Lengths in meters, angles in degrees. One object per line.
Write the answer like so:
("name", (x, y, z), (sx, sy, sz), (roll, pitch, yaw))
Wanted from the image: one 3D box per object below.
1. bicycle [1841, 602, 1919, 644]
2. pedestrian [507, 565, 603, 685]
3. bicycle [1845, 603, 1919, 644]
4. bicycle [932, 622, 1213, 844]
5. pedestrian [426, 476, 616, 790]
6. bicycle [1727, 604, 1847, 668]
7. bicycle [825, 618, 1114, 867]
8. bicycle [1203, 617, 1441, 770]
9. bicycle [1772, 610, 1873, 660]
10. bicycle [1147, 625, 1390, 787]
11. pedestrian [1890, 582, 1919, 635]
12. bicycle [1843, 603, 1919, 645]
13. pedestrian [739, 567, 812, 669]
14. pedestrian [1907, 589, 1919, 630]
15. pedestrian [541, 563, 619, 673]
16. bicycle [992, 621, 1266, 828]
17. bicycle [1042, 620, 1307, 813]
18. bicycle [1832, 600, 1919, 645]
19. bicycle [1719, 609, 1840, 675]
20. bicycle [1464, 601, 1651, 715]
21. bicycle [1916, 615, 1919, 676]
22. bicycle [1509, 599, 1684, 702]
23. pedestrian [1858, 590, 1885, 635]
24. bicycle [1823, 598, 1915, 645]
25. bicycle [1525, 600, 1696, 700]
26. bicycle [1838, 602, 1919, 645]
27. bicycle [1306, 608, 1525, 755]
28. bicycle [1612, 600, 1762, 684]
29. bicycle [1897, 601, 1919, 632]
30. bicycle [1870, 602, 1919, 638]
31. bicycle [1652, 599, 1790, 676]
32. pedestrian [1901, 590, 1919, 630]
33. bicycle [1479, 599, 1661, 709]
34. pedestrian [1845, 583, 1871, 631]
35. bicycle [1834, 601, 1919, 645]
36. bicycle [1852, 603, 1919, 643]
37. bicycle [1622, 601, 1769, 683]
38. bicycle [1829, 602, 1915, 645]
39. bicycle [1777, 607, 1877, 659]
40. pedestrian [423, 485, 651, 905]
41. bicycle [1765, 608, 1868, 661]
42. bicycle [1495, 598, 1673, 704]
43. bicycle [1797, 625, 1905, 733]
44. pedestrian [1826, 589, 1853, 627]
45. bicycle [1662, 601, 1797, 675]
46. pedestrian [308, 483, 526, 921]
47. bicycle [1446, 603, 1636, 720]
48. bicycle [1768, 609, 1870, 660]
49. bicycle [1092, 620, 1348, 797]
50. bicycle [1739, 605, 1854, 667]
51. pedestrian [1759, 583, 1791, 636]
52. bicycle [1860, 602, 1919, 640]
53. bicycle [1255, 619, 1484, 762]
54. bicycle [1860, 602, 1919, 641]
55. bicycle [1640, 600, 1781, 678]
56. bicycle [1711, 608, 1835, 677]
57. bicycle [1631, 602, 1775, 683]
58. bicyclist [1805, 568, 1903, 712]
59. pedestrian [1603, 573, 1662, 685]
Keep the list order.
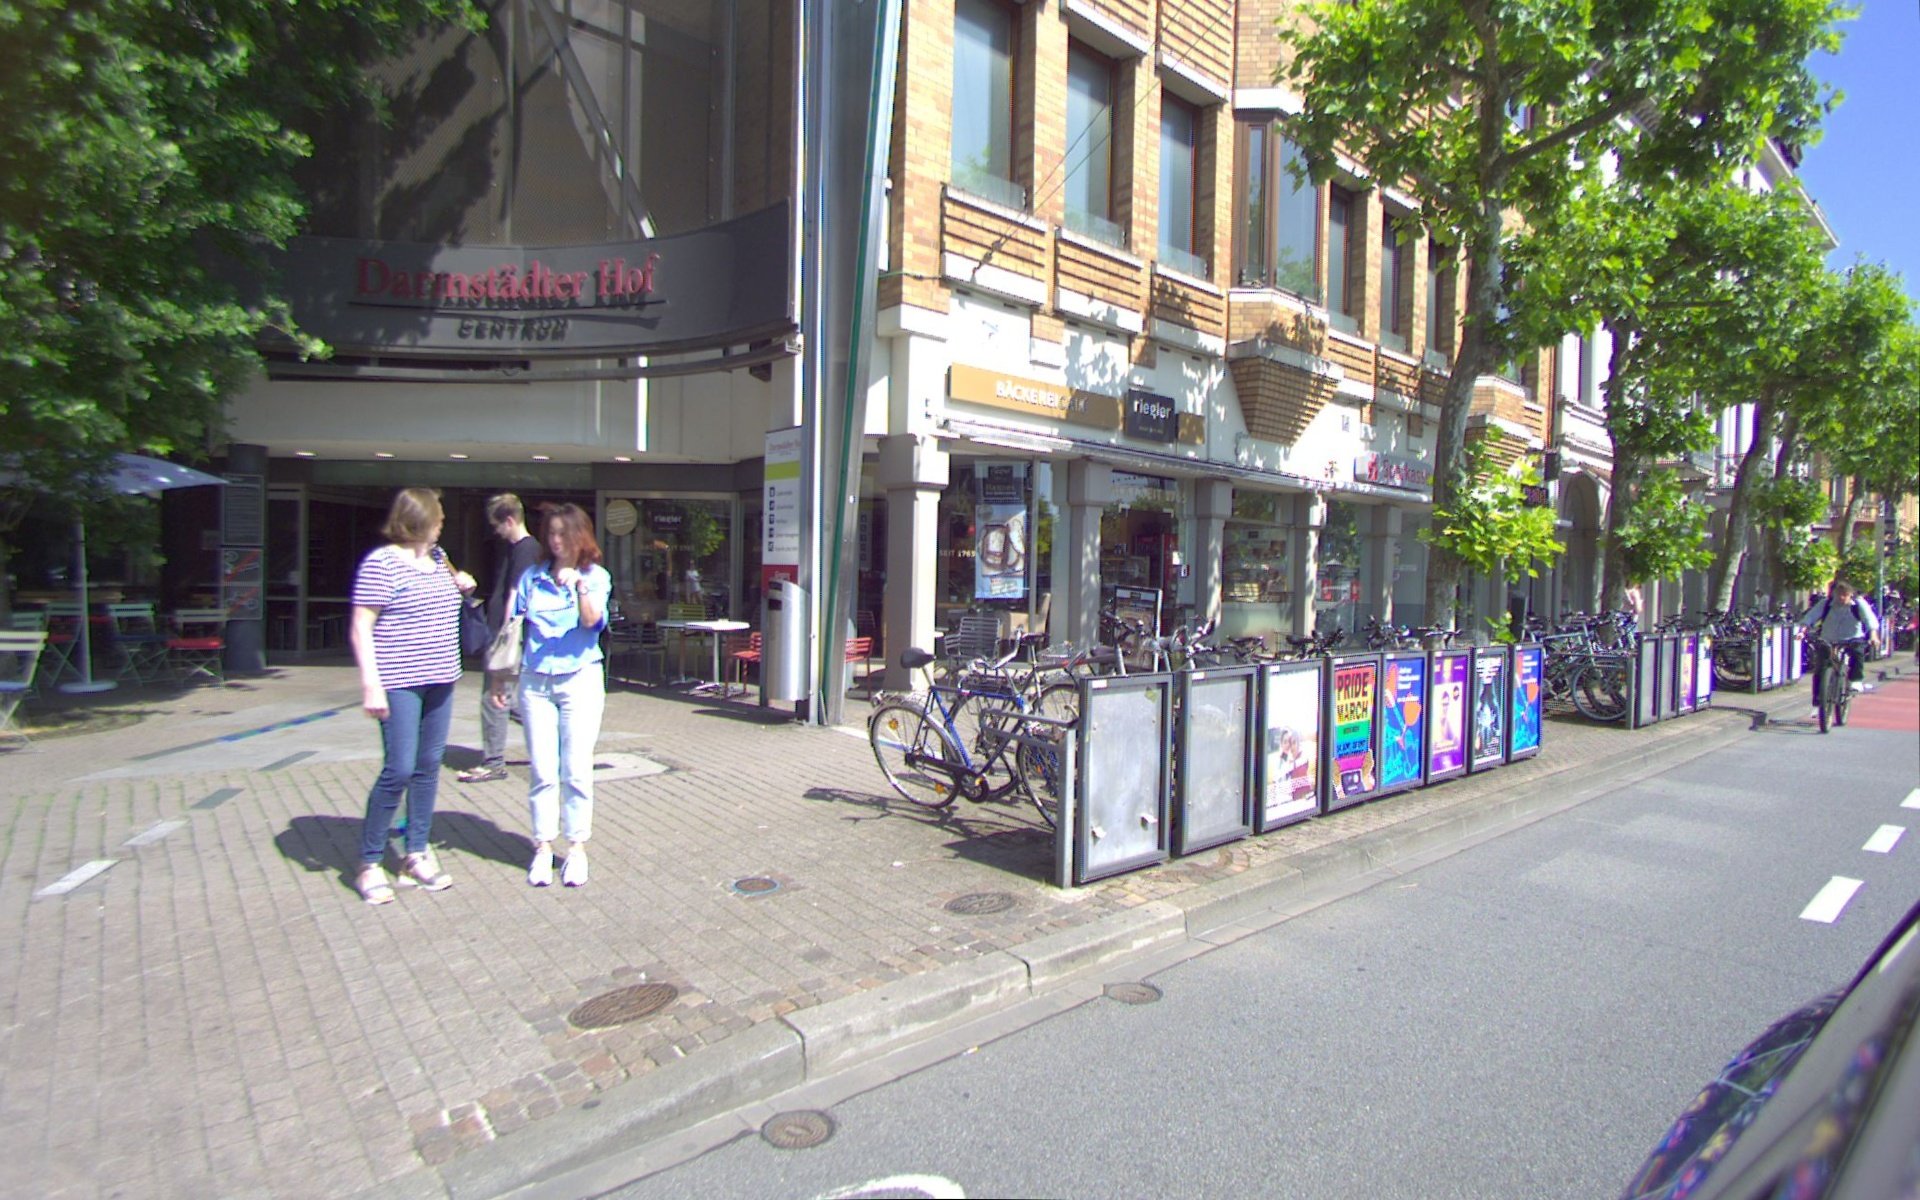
("bicycle", (26.481, 0.648, 29.056), (0.474, 1.161, 1.755), (0, 1, -42))
("pedestrian", (-4.504, 0.267, 11.259), (0.636, 1.271, 0.783), (-1, -1, 37))
("bicycle", (27.358, 0.679, 29.907), (0.582, 1.161, 1.755), (0, 1, -42))
("bicycle", (0.593, 0.697, 5.957), (0.474, 1.030, 1.755), (0, 2, -42))
("pedestrian", (-2.762, 0.179, 6.375), (0.967, 1.803, 0.670), (0, 1, -37))
("bicycle", (16.037, 0.680, 19.664), (0.474, 1.161, 1.755), (0, 1, -42))
("bicycle", (-0.021, 0.673, 5.477), (0.474, 1.030, 1.755), (0, 3, -42))
("bicycle", (2.805, 0.678, 7.999), (0.474, 1.031, 1.755), (0, 1, -42))
("bicycle", (20.182, 0.795, 23.703), (0.474, 1.082, 1.755), (0, 1, -42))
("bicycle", (2.218, 0.718, 7.461), (0.474, 0.997, 1.719), (0, 1, -42))
("pedestrian", (28.378, 0.252, 30.382), (0.655, 1.558, 0.605), (0, -1, -42))
("bicycle", (26.876, 0.682, 29.421), (0.582, 1.161, 1.755), (0, 1, -42))
("pedestrian", (-2.393, 0.226, 13.086), (0.628, 1.271, 0.793), (0, -1, -37))
("pedestrian", (39.435, 0.387, 41.667), (0.612, 1.706, 0.577), (0, -1, -44))
("pedestrian", (-4.575, 0.213, 12.225), (0.628, 1.271, 0.793), (-1, -1, 2))
("bicycle", (0.985, 0.693, 6.312), (0.474, 1.030, 1.755), (0, 2, -42))
("bicycle", (1.346, 0.691, 6.668), (0.474, 1.031, 1.755), (0, 1, -42))
("bicycle", (24.819, 0.596, 27.430), (0.475, 1.161, 1.755), (-1, 1, -42))
("bicycle", (15.610, 0.782, 19.316), (0.474, 1.161, 1.755), (0, 1, -42))
("bicycle", (6.708, 0.611, 11.441), (0.474, 1.161, 1.755), (0, 1, -42))
("bicycle", (18.446, 0.838, 18.907), (1.788, 1.107, 0.735), (1, -1, -43))
("bicycle", (7.788, 0.576, 12.452), (0.474, 1.161, 1.755), (0, 1, -42))
("pedestrian", (37.177, 0.493, 41.292), (0.764, 1.805, 0.720), (0, -1, -43))
("bicycle", (24.297, 0.555, 27.077), (0.474, 1.209, 1.801), (0, 1, -42))
("bicycle", (8.198, 0.594, 12.819), (0.474, 1.161, 1.755), (0, 1, -42))
("bicycle", (26.101, 0.651, 28.698), (0.474, 1.161, 1.755), (0, 1, -42))
("bicycle", (4.045, 0.671, 9.108), (0.474, 1.161, 1.755), (0, 1, -42))
("bicycle", (10.798, 0.594, 15.074), (0.474, 1.161, 1.755), (0, 1, -42))
("bicycle", (36.184, 0.622, 37.753), (0.582, 1.161, 1.755), (0, 1, -42))
("bicycle", (31.096, 0.655, 33.234), (0.582, 1.161, 1.755), (0, 1, -42))
("bicycle", (12.450, 0.585, 16.597), (0.474, 1.161, 1.755), (0, 1, -42))
("pedestrian", (38.368, 0.413, 40.656), (0.571, 1.604, 0.518), (-1, -1, -1))
("bicycle", (7.053, 0.581, 11.775), (0.474, 1.161, 1.755), (0, 1, -42))
("pedestrian", (34.035, 0.263, 38.372), (0.764, 1.816, 0.634), (0, -1, -43))
("bicycle", (25.214, 0.611, 27.832), (0.474, 1.161, 1.755), (0, 1, -42))
("bicycle", (28.107, 0.673, 30.531), (0.582, 1.161, 1.755), (0, 1, -42))
("bicycle", (11.175, 0.605, 15.427), (0.474, 1.161, 1.755), (0, 1, -42))
("bicycle", (25.531, 0.641, 28.367), (0.474, 1.161, 1.755), (0, 1, -42))
("bicycle", (20.660, 0.774, 24.140), (0.474, 1.161, 1.755), (0, 1, -42))
("pedestrian", (-1.773, 0.367, 4.331), (0.688, 1.646, 0.698), (1, 1, -3))
("bicycle", (19.417, 0.767, 22.971), (0.474, 1.119, 1.755), (0, 1, -42))
("bicycle", (7.421, 0.565, 12.101), (0.474, 1.161, 1.755), (0, 1, -42))
("bicycle", (10.326, 0.864, 11.711), (1.865, 1.107, 0.735), (0, -1, -43))
("pedestrian", (39.598, 0.365, 45.578), (0.611, 1.668, 0.797), (0, -1, -40))
("bicycle", (12.916, 0.605, 17.033), (0.491, 1.161, 1.755), (0, 1, -42))
("pedestrian", (-2.271, 0.367, 4.228), (0.634, 1.646, 0.599), (0, 3, -45))
("bicycle", (6.332, 0.627, 11.110), (0.474, 1.161, 1.755), (0, 1, -42))
("bicycle", (19.785, 0.775, 23.343), (0.474, 1.101, 1.755), (0, 1, -42))
("bicycle", (1.746, 0.681, 7.032), (0.474, 1.031, 1.755), (0, 1, -42))
("bicycle", (16.863, 0.698, 20.435), (0.474, 1.161, 1.755), (0, 1, -42))
("pedestrian", (26.501, 0.303, 32.918), (0.664, 1.718, 0.658), (0, -1, -39))
("bicycle", (29.590, 0.663, 31.916), (0.582, 1.161, 1.755), (0, 1, -42))
("bicycle", (3.375, 0.702, 8.480), (0.474, 1.031, 1.755), (0, 1, -42))
("bicycle", (29.079, 0.668, 31.330), (0.582, 1.161, 1.755), (0, 1, -42))
("bicycle", (11.972, 0.589, 16.194), (0.474, 1.161, 1.755), (0, 1, -42))
("bicycle", (15.178, 0.766, 18.926), (0.474, 1.202, 1.755), (0, 1, -42))
("bicycle", (11.591, 0.630, 15.827), (0.474, 1.161, 1.755), (0, 1, -42))
("bicyclist", (10.379, 0.444, 11.752), (0.765, 1.597, 0.749), (0, -1, -42))
("pedestrian", (10.259, 0.428, 15.459), (0.648, 1.654, 0.723), (-1, -1, 28))
